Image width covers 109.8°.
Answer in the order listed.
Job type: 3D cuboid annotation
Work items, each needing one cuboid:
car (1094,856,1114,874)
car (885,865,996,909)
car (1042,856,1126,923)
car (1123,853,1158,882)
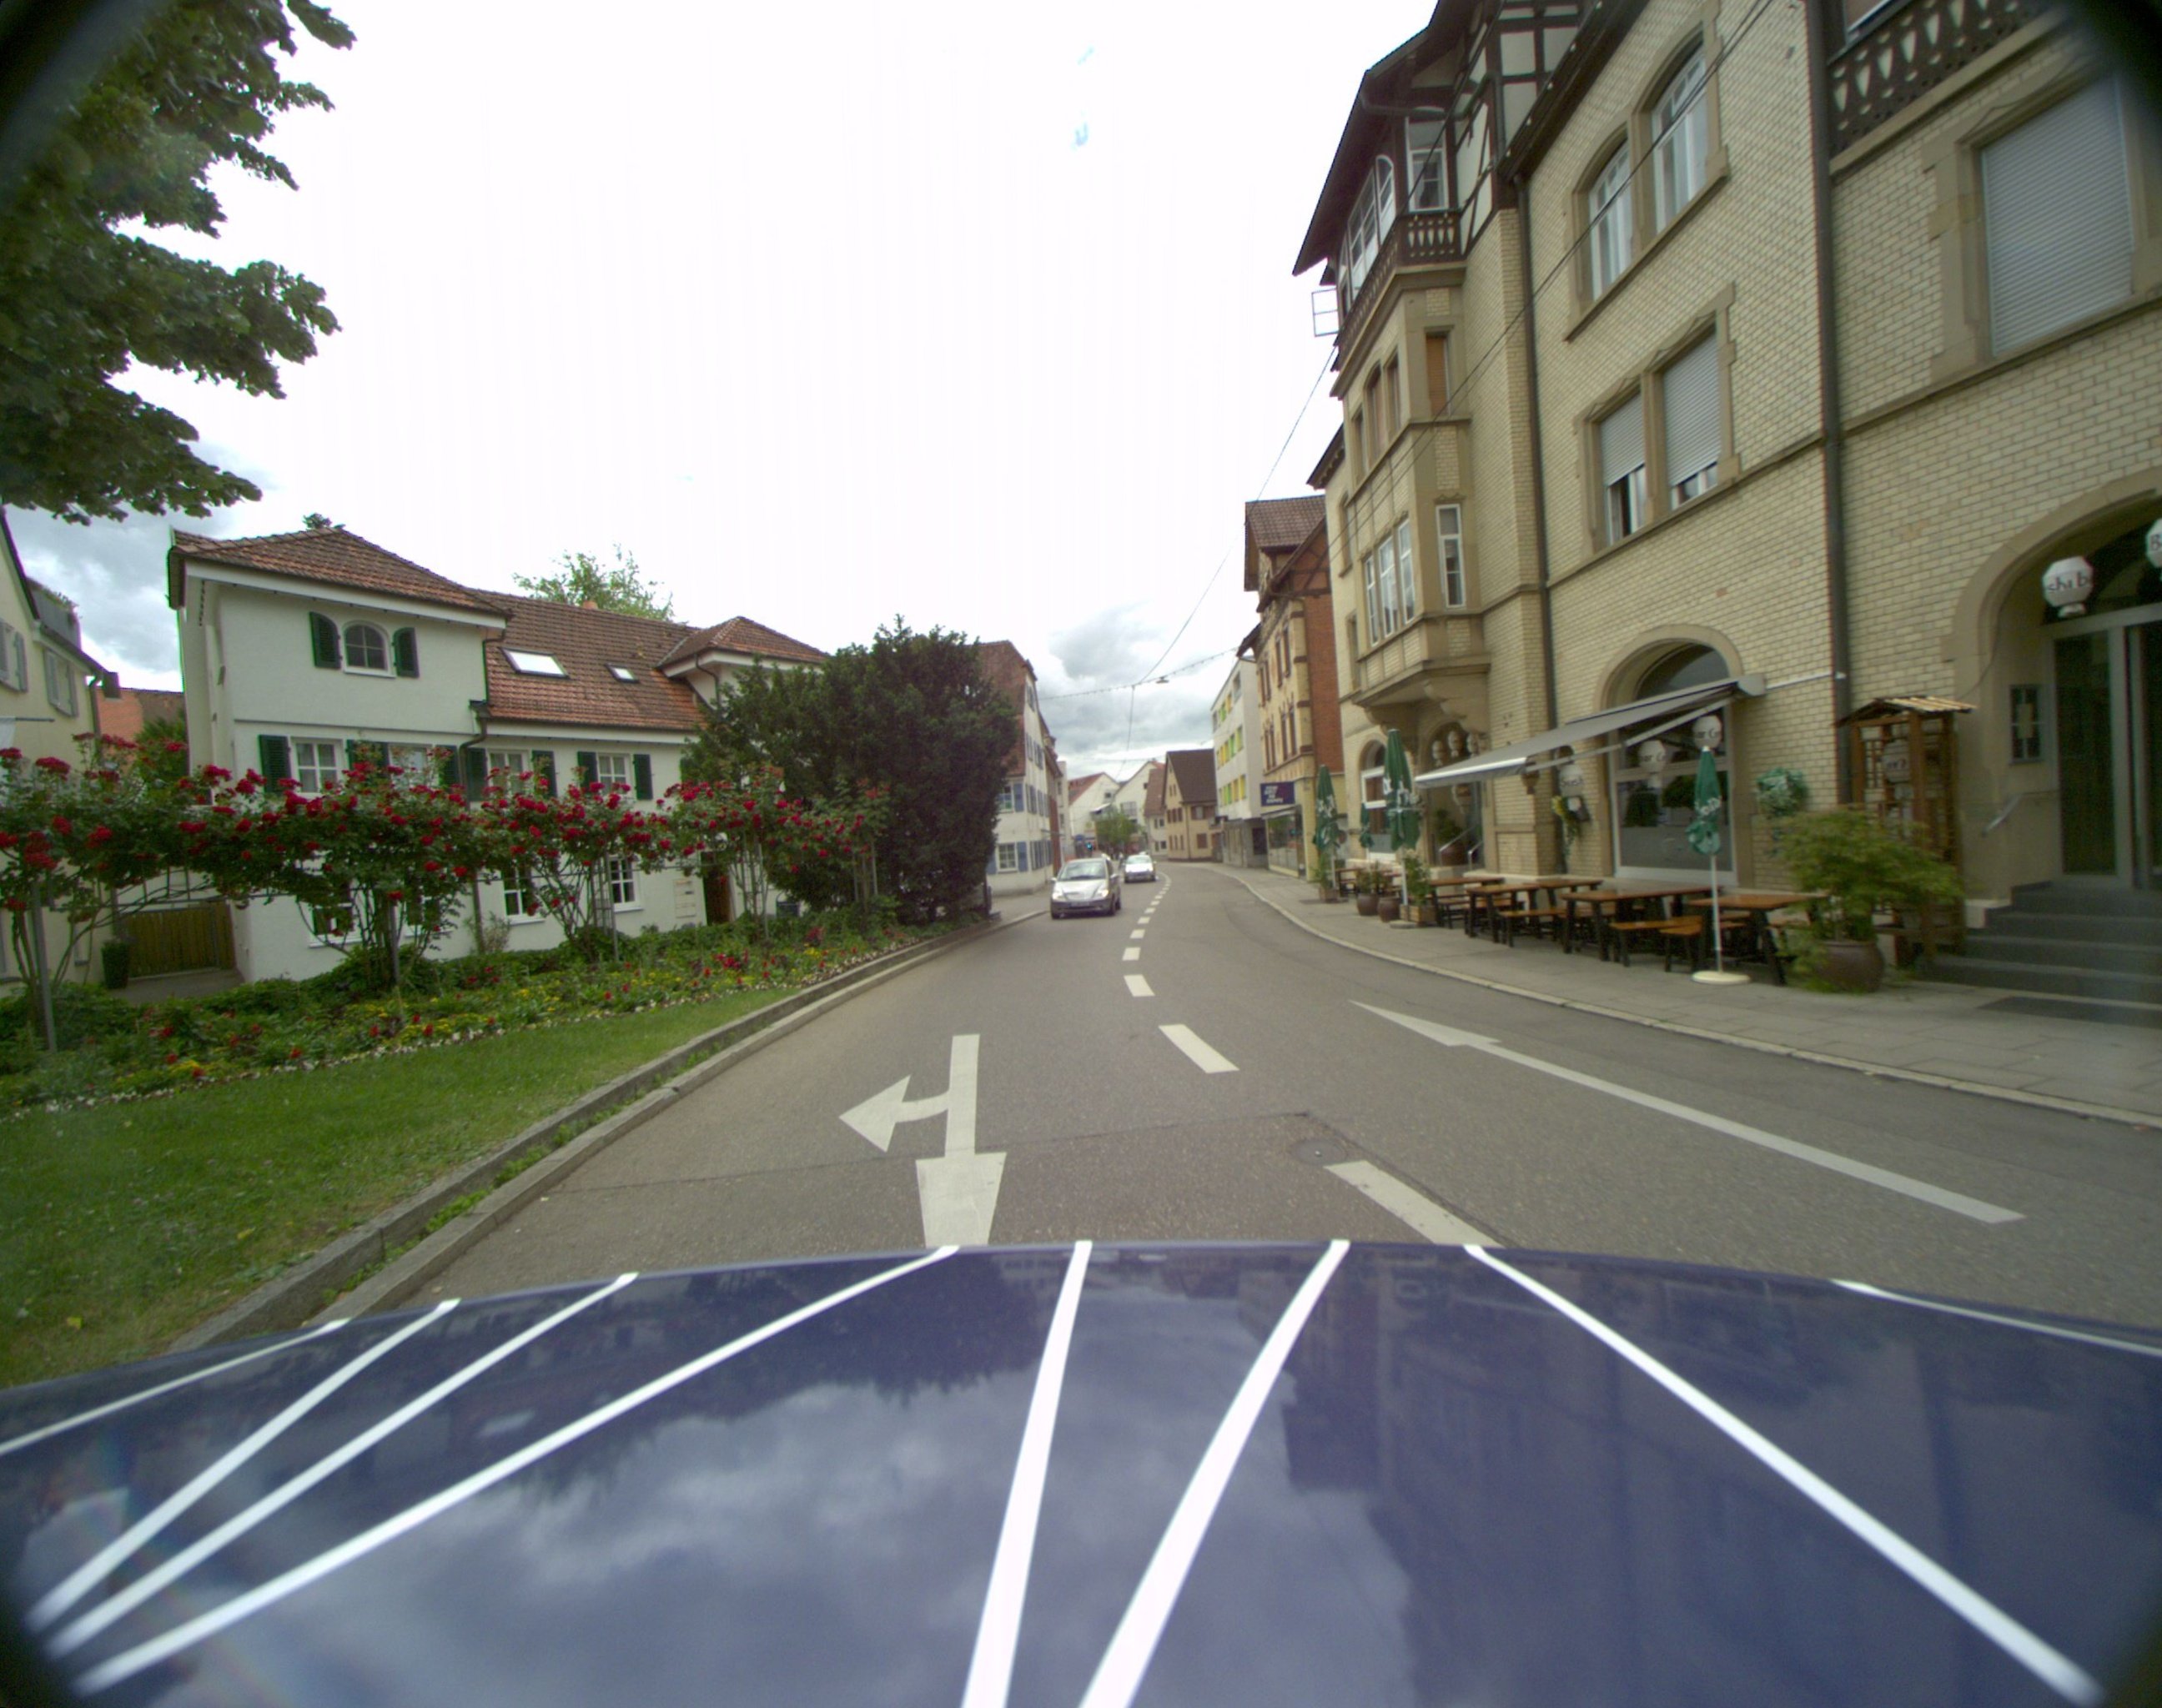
[{"bbox_3d":[2.589,1.226,85.502,2.000,1.618,3.999,-5,1,0],"label":"car"},{"bbox_3d":[-5.534,1.286,30.165,3.798,1.410,1.899,-4,1,15],"label":"car"},{"bbox_3d":[0.182,0.939,21.839,1.894,1.618,4.001,-3,0,7],"label":"car"},{"bbox_3d":[3.316,0.707,41.754,1.754,1.347,4.001,-4,0,6],"label":"car"}]
